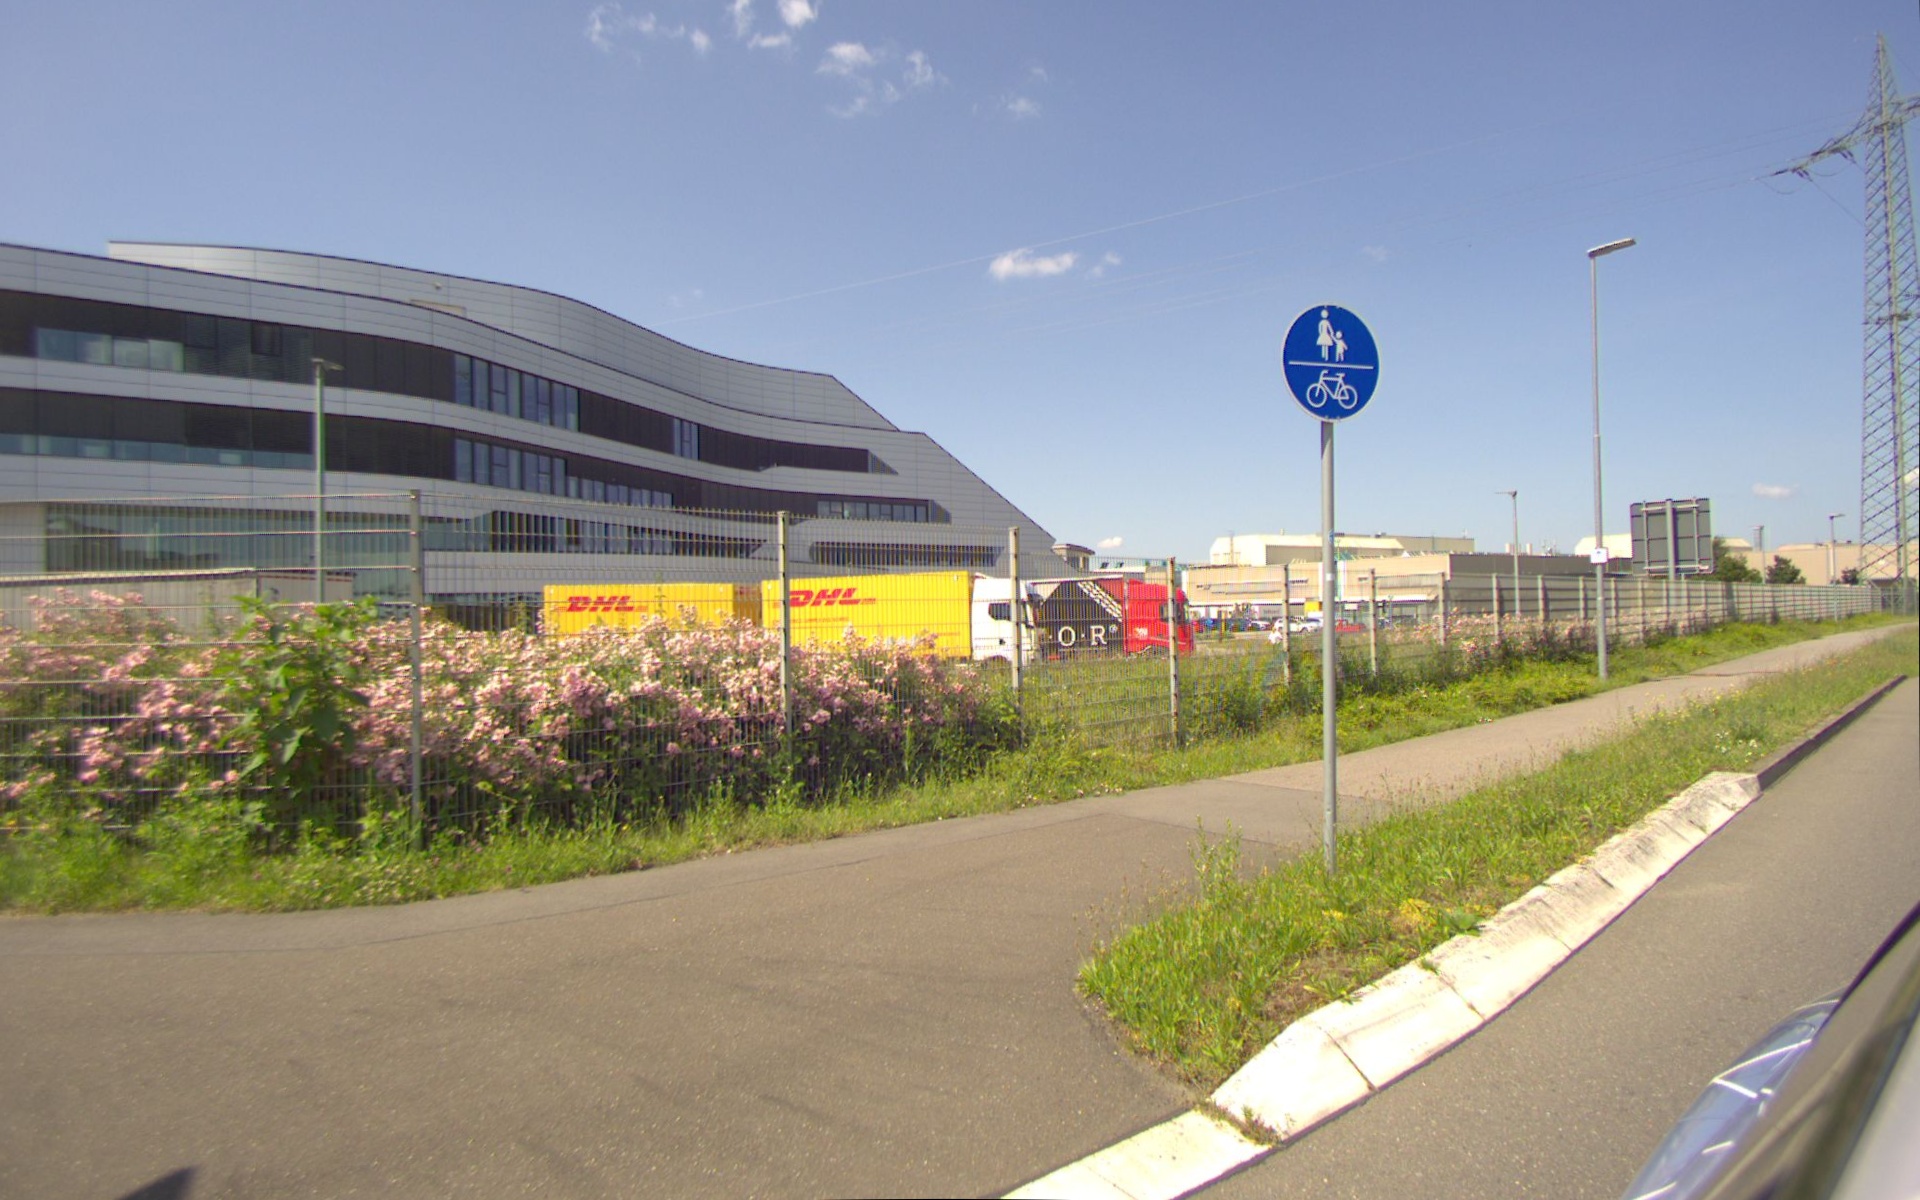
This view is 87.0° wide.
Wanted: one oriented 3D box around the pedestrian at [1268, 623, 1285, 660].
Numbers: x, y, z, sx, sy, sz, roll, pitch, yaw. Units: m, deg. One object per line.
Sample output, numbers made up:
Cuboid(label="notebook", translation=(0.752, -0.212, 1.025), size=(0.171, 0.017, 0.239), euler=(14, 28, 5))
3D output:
Cuboid(label="pedestrian", translation=(14.717, 1.923, 47.013), size=(0.564, 1.674, 0.484), euler=(-1, -2, -38))

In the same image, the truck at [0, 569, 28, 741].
Cuboid(label="truck", translation=(-27.757, 1.486, 26.340), size=(5.214, 4.478, 2.754), euler=(-1, 0, 15))

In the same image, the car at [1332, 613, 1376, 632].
Cuboid(label="car", translation=(32.670, 1.882, 83.949), size=(1.428, 1.554, 3.150), euler=(-1, -1, -37))

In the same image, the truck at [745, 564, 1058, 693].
Cuboid(label="truck", translation=(-2.119, 0.996, 36.100), size=(10.819, 4.225, 2.809), euler=(-1, 0, 16))

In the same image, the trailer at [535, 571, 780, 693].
Cuboid(label="trailer", translation=(-11.424, 1.196, 38.481), size=(8.580, 4.350, 2.892), euler=(-1, 0, 12))

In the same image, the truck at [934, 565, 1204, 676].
Cuboid(label="truck", translation=(4.542, 0.839, 42.155), size=(10.816, 4.310, 3.015), euler=(-1, 0, 16))

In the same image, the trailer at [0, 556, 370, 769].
Cuboid(label="trailer", translation=(-21.059, 1.391, 24.507), size=(13.859, 4.494, 2.754), euler=(-1, 0, 15))

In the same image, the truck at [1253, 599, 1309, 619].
Cuboid(label="truck", translation=(55.502, 1.580, 174.639), size=(11.619, 3.178, 2.001), euler=(-1, -2, -32))
